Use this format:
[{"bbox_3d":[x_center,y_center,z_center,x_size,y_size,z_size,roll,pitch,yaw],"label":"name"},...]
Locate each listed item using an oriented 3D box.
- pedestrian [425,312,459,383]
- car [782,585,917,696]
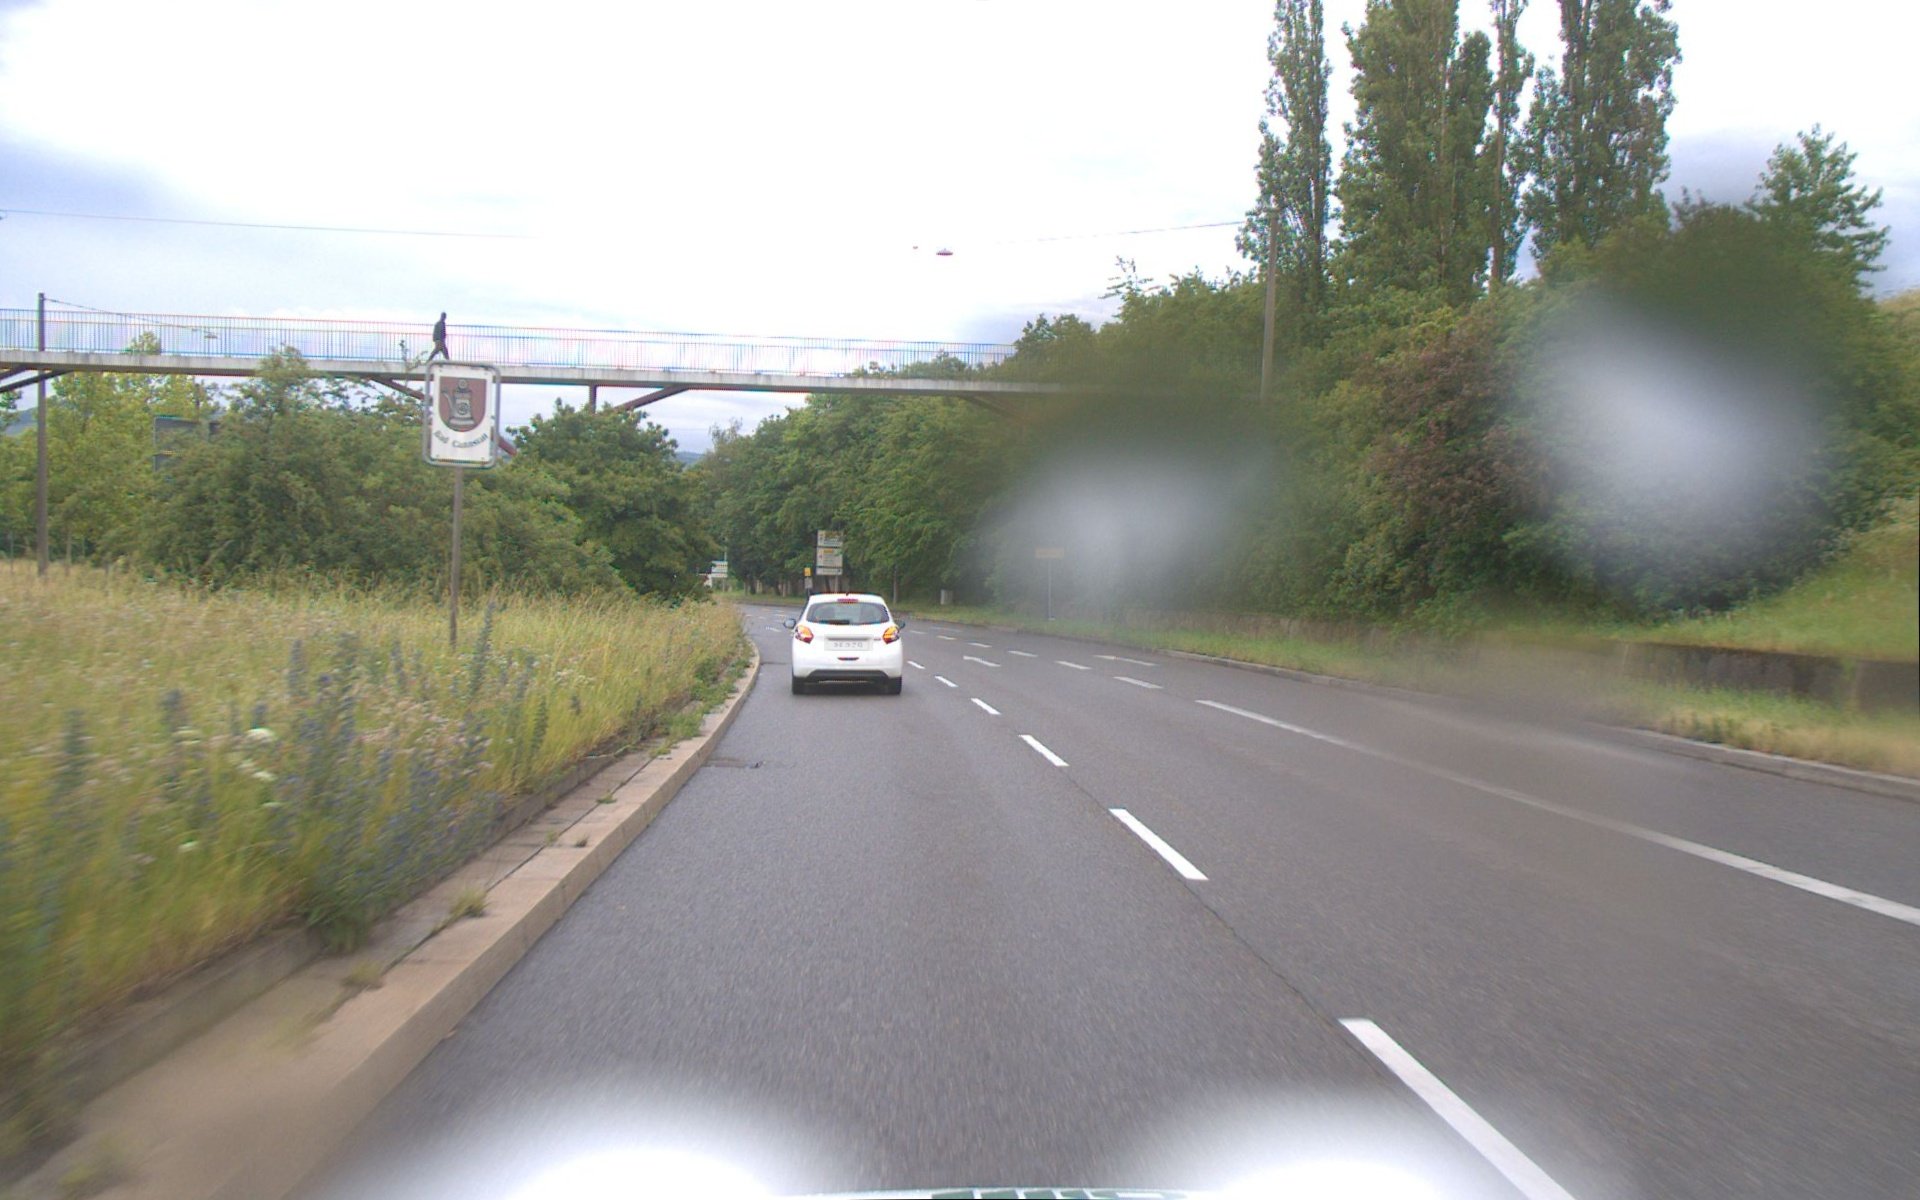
[{"bbox_3d":[-16.718,-8.148,53.374,0.898,2.181,0.730,-1,0,-11],"label":"pedestrian"},{"bbox_3d":[-1.802,0.570,25.874,1.833,1.537,3.893,2,1,-8],"label":"car"}]
